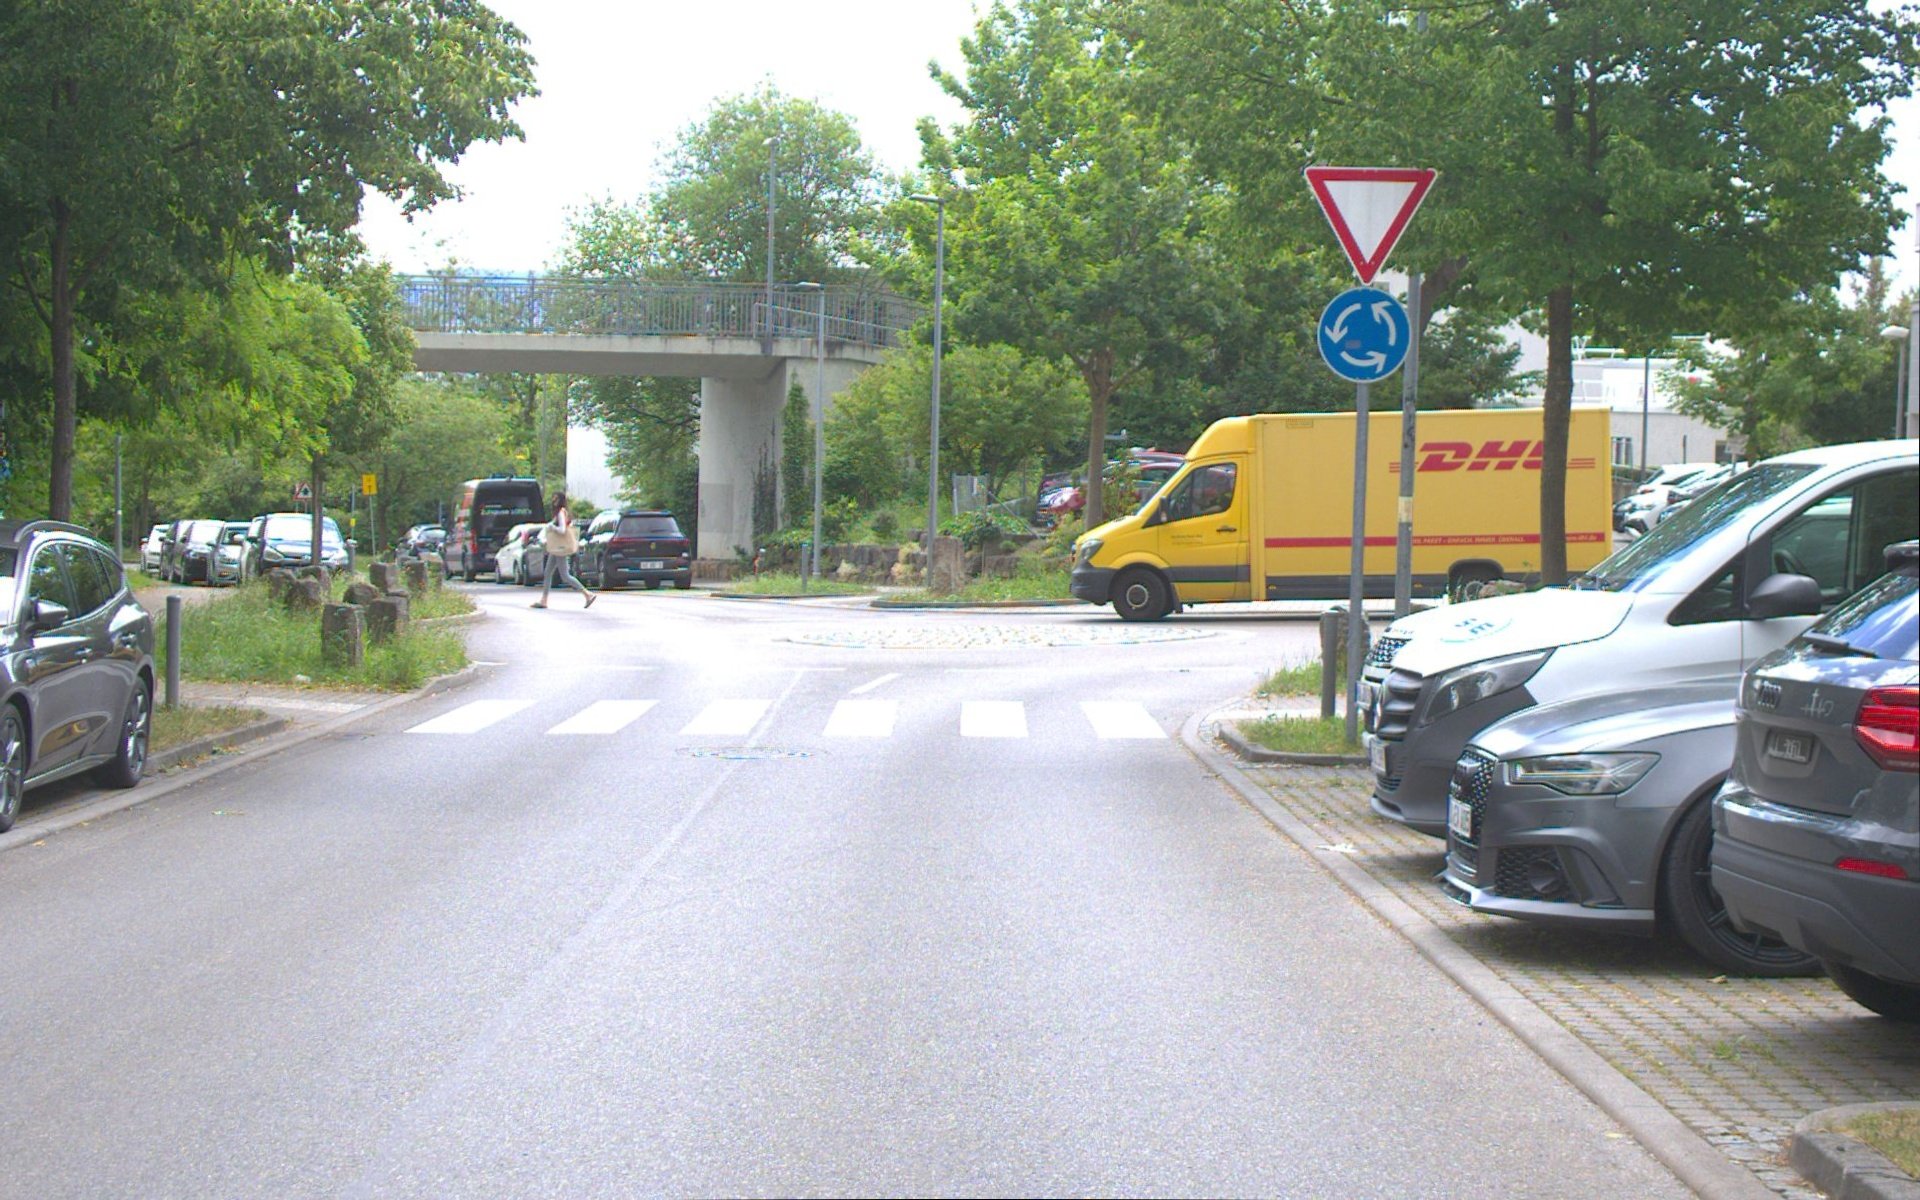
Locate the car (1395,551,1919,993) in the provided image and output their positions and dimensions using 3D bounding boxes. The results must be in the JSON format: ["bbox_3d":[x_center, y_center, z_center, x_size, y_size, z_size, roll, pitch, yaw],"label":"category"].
[{"bbox_3d":[3.564,0.527,12.041,3.824,1.366,1.843,-1,2,0],"label":"car"}]

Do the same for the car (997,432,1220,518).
[{"bbox_3d":[3.110,-2.604,71.739,4.544,1.662,1.944,1,2,3],"label":"car"}]

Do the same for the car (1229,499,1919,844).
[{"bbox_3d":[3.552,0.338,17.634,4.150,1.596,1.739,1,2,-1],"label":"car"}]

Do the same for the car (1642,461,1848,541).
[{"bbox_3d":[15.851,-2.012,69.543,3.983,1.512,1.756,2,2,12],"label":"car"}]

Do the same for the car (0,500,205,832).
[{"bbox_3d":[-5.314,0.250,17.876,1.690,1.460,4.457,4,2,0],"label":"car"}]

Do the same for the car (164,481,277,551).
[{"bbox_3d":[-16.771,-1.898,77.805,1.884,1.504,4.454,1,1,-20],"label":"car"}]

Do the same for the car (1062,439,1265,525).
[{"bbox_3d":[4.089,-2.381,69.163,3.987,1.608,1.944,1,2,3],"label":"car"}]

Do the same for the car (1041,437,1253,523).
[{"bbox_3d":[3.344,-2.139,61.085,3.650,1.434,1.684,1,2,6],"label":"car"}]

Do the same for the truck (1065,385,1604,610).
[{"bbox_3d":[4.941,-1.298,45.195,6.804,2.693,2.473,-1,0,9],"label":"truck"}]

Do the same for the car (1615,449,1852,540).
[{"bbox_3d":[14.545,-1.995,64.799,4.120,1.588,1.692,1,2,5],"label":"car"}]

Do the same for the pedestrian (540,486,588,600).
[{"bbox_3d":[-6.067,-0.879,52.657,0.657,1.716,0.739,1,2,-4],"label":"pedestrian"}]

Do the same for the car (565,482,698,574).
[{"bbox_3d":[-6.825,-1.453,71.031,1.813,1.673,4.371,-1,-2,-18],"label":"car"}]

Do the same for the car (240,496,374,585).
[{"bbox_3d":[-11.756,-1.088,61.742,1.785,1.463,4.002,1,2,-19],"label":"car"}]

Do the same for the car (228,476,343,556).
[{"bbox_3d":[-13.033,-1.638,66.277,1.884,1.455,3.548,1,2,-16],"label":"car"}]

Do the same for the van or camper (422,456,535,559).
[{"bbox_3d":[-12.361,-2.331,87.976,1.993,2.514,5.472,-2,1,-17],"label":"van or camper"}]

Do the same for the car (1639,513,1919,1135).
[{"bbox_3d":[4.041,0.498,9.562,3.824,1.514,1.912,-1,2,-5],"label":"car"}]

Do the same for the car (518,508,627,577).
[{"bbox_3d":[-8.739,-1.300,77.326,1.699,1.491,4.120,-1,1,-17],"label":"car"}]

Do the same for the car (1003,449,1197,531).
[{"bbox_3d":[2.744,-2.153,66.922,3.650,1.493,1.684,1,2,6],"label":"car"}]

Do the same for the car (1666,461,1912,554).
[{"bbox_3d":[14.400,-1.623,59.915,4.043,1.512,1.755,2,2,11],"label":"car"}]

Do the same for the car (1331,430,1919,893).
[{"bbox_3d":[4.110,0.197,14.787,4.773,1.825,1.843,-1,2,-1],"label":"car"}]
